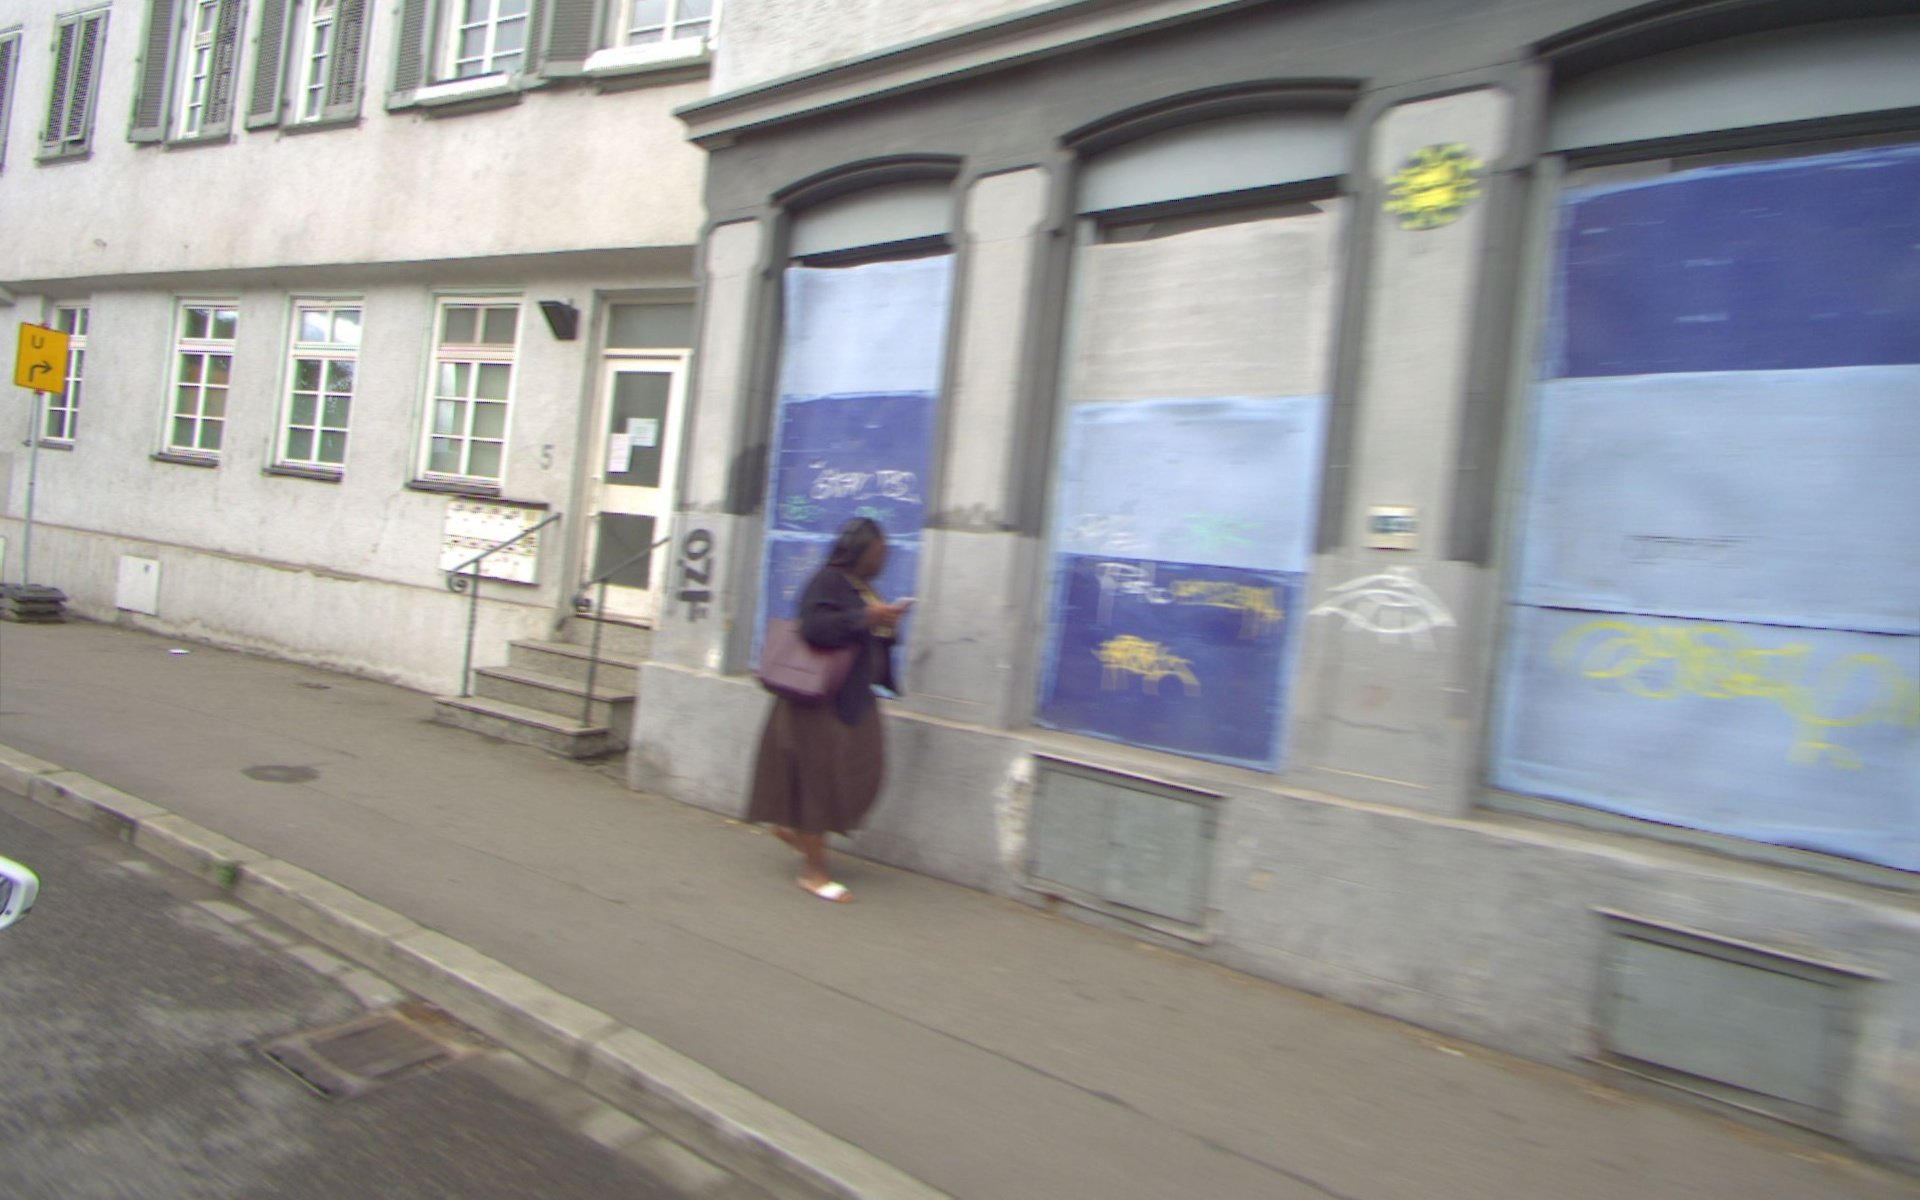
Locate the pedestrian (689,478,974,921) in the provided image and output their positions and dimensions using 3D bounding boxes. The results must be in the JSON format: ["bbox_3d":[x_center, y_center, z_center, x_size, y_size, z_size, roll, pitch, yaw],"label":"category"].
[{"bbox_3d":[-0.562,0.376,4.398,0.797,1.690,0.753,9,5,38],"label":"pedestrian"}]
